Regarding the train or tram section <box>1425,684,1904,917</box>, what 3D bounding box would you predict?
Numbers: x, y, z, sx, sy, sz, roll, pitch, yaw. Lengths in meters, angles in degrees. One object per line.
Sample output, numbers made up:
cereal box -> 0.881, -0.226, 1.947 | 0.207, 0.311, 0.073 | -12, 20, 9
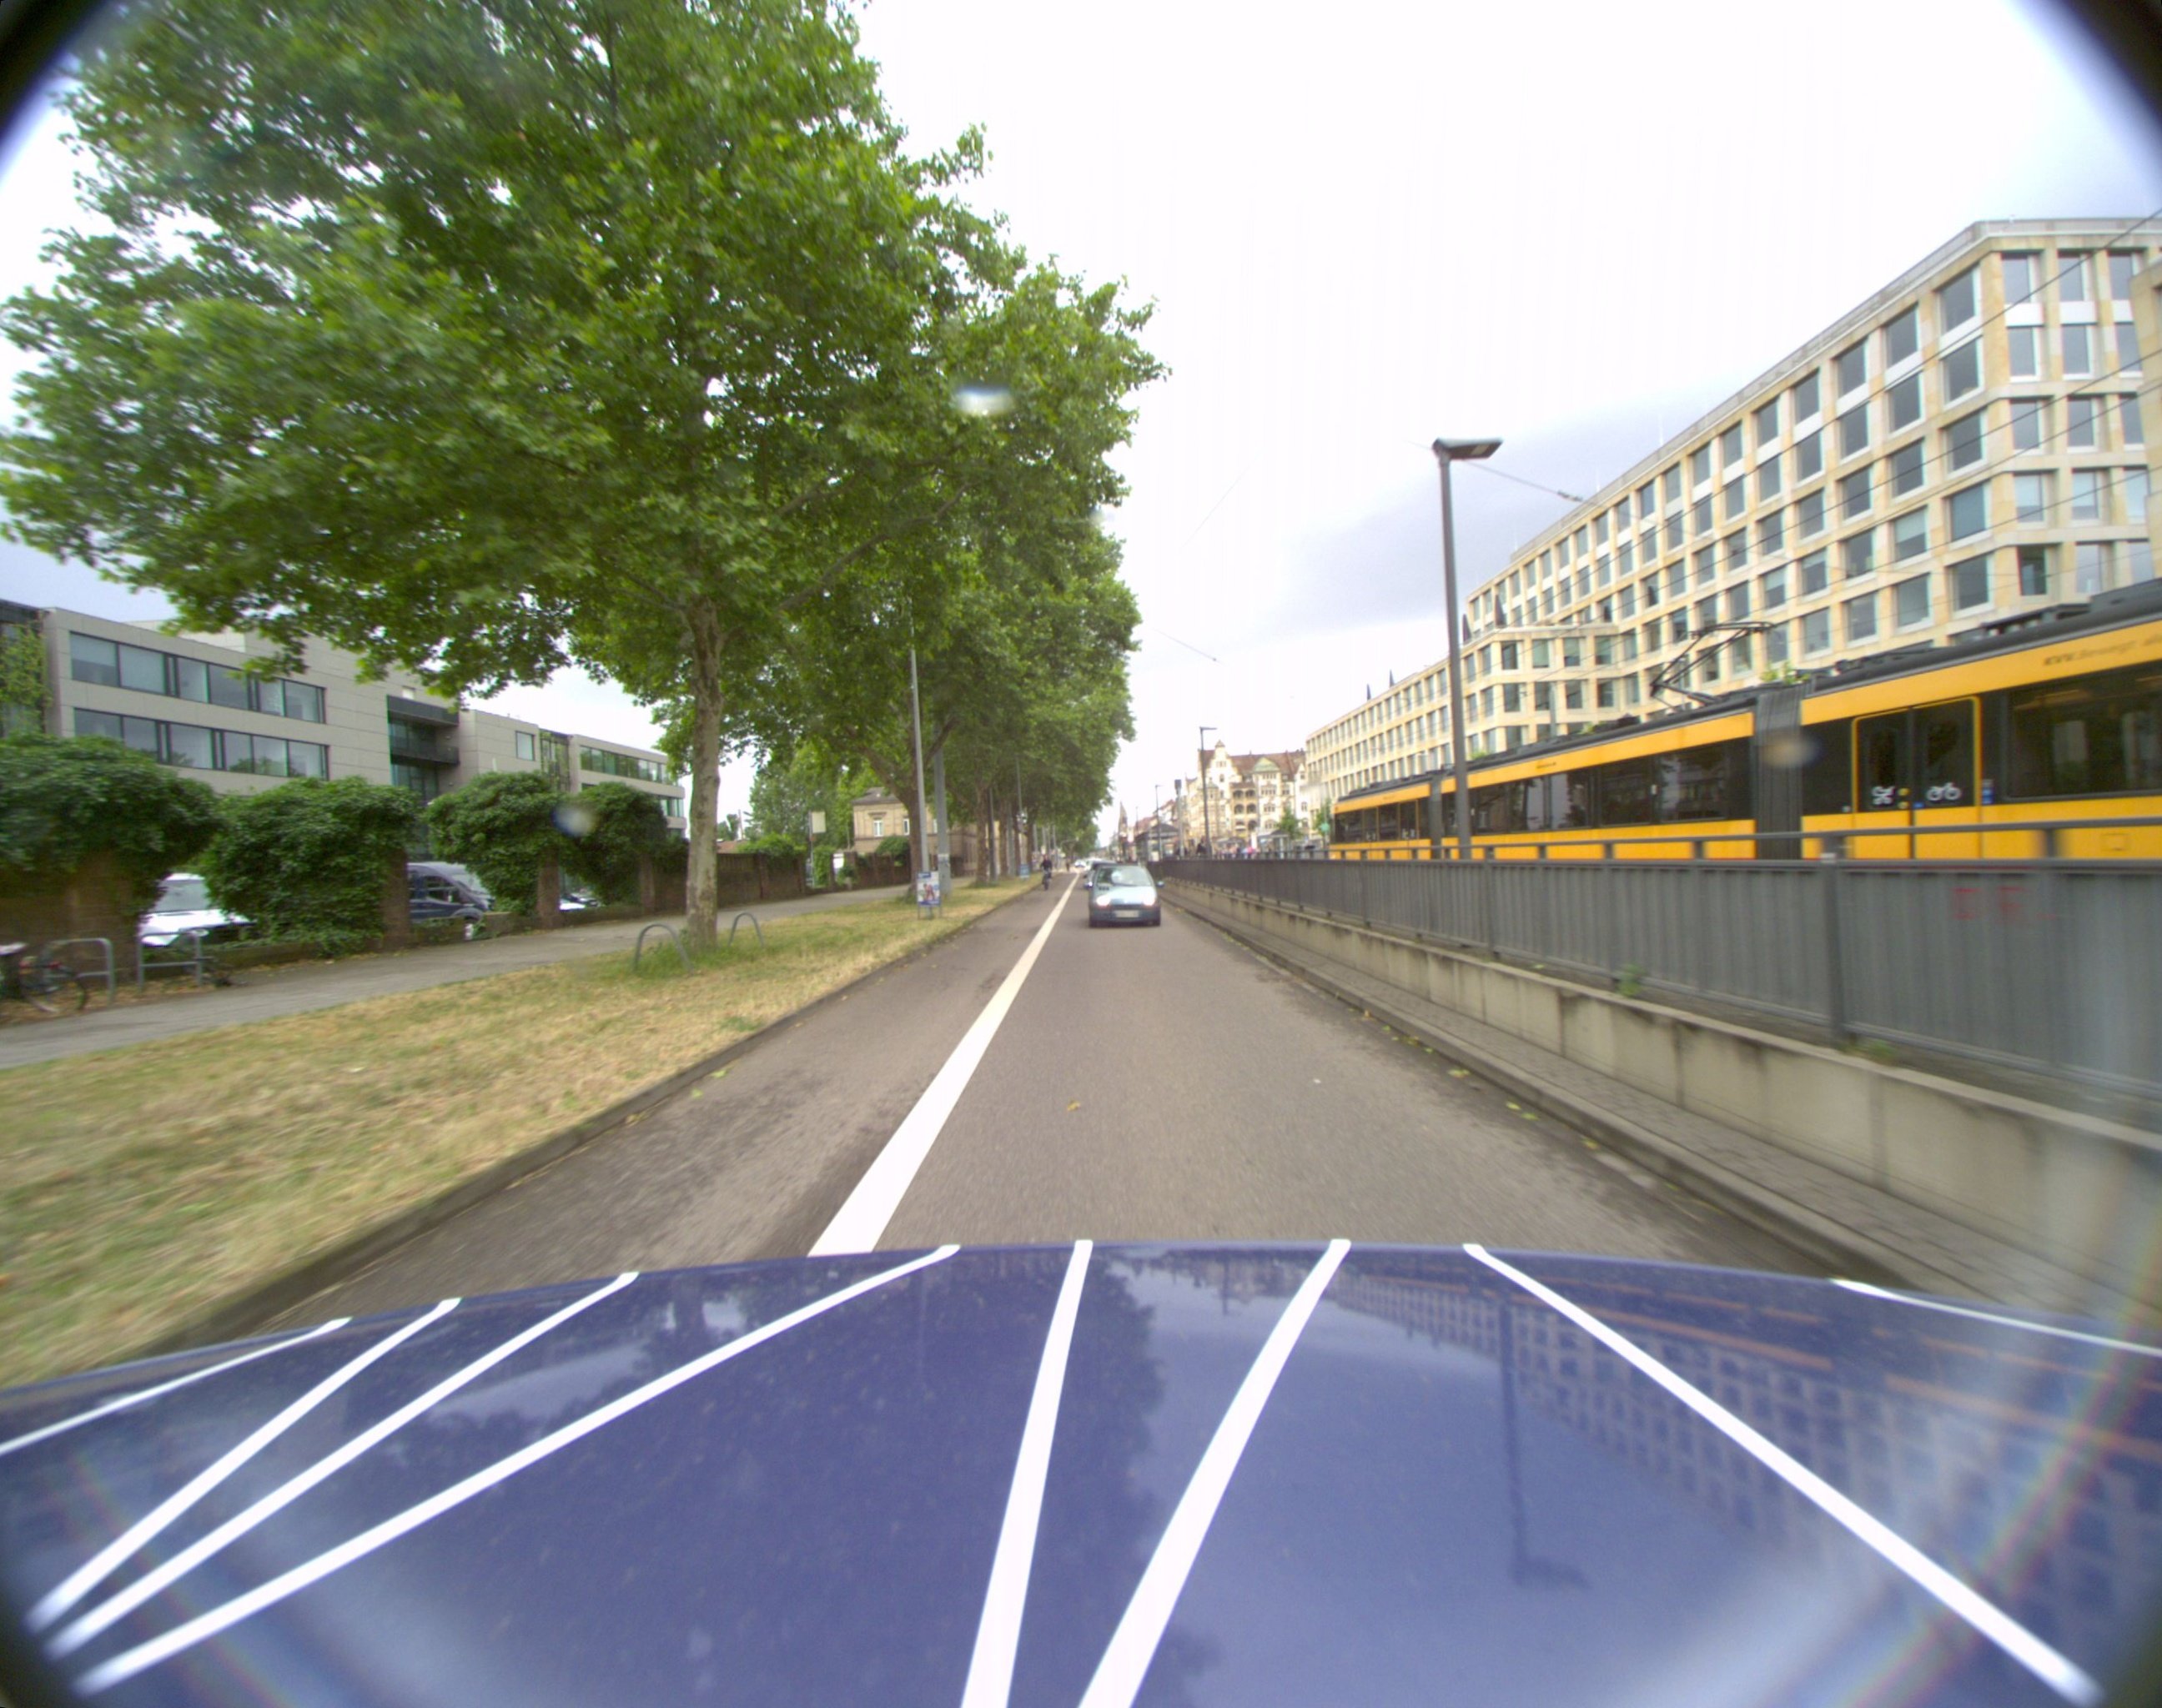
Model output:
train or tram section -> 12.563, -0.973, 18.683 | 3.171, 3.839, 11.310 | -3, 1, 1

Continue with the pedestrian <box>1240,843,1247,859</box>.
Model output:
pedestrian -> 16.405, -0.305, 76.766 | 0.536, 1.598, 0.565 | -3, 1, 8

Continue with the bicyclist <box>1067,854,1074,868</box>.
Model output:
bicyclist -> -1.317, 0.841, 93.391 | 0.812, 1.591, 1.189 | -3, 1, -2

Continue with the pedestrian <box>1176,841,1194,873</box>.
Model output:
pedestrian -> 5.860, 0.166, 42.858 | 0.672, 1.783, 1.112 | -3, 1, -8

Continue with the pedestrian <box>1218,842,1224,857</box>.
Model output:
pedestrian -> 16.699, -0.581, 90.314 | 0.596, 1.759, 0.589 | -3, 1, 8

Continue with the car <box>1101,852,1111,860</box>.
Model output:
car -> 5.759, 0.480, 175.214 | 1.869, 1.630, 3.775 | -3, 1, -1

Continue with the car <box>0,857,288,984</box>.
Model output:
car -> -20.250, 1.370, 15.972 | 5.109, 2.251, 1.665 | -4, 1, -2

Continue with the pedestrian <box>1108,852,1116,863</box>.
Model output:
pedestrian -> 4.911, 0.587, 120.813 | 0.862, 1.633, 0.651 | -4, 1, -41

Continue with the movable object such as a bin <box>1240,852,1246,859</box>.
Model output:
movable object such as a bin -> 16.489, 0.146, 77.289 | 0.536, 0.743, 0.469 | -3, 1, 7

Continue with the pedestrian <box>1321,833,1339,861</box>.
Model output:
pedestrian -> 16.461, -0.465, 50.311 | 0.713, 1.785, 1.160 | -3, 1, 0

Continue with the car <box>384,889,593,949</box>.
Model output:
car -> -19.254, 2.077, 24.869 | 5.109, 1.403, 2.003 | -4, 1, -2

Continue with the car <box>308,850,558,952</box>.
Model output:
car -> -18.759, 1.303, 22.230 | 5.246, 2.407, 2.075 | -5, 1, -2

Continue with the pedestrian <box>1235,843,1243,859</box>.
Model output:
pedestrian -> 17.559, -0.329, 84.386 | 0.589, 1.759, 0.596 | -4, 1, -36

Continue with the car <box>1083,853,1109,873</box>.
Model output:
car -> 1.214, 0.731, 61.857 | 1.998, 1.443, 4.100 | -3, 1, 1

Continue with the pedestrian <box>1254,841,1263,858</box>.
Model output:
pedestrian -> 17.679, -0.441, 75.666 | 0.580, 1.598, 0.655 | -4, 1, -32

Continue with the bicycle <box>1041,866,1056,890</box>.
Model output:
bicycle -> -1.671, 1.207, 39.089 | 0.654, 1.143, 2.282 | -3, 1, -1

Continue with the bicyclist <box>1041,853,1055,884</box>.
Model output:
bicyclist -> -1.700, 0.729, 38.971 | 0.642, 1.522, 0.664 | -3, 1, -1

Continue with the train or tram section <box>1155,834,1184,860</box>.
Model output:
train or tram section -> 13.965, -1.112, 120.808 | 2.862, 3.670, 13.518 | -3, 1, 0

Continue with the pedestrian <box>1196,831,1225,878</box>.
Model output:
pedestrian -> 5.692, 0.018, 33.528 | 1.061, 2.002, 0.840 | -3, 1, 1

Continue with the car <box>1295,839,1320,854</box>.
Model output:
car -> 27.480, -0.918, 92.206 | 1.998, 1.652, 4.000 | -3, 1, 3

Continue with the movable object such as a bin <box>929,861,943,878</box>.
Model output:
movable object such as a bin -> -10.142, 1.085, 53.029 | 0.613, 1.105, 1.015 | -3, 0, 7

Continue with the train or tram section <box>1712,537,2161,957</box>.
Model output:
train or tram section -> 12.300, -1.104, 6.144 | 3.188, 4.155, 13.619 | -3, 1, 1

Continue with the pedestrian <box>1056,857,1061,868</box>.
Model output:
pedestrian -> -3.256, 1.209, 110.372 | 0.552, 1.520, 0.639 | -3, 1, 18

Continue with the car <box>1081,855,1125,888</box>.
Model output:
car -> 1.084, 0.849, 38.359 | 1.998, 1.443, 4.100 | -3, 1, 1

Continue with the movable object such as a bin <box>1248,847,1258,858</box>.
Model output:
movable object such as a bin -> 17.111, -0.162, 75.437 | 0.622, 1.015, 0.721 | -4, 1, -32

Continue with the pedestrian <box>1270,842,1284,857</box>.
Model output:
pedestrian -> 18.334, -0.425, 70.974 | 1.040, 1.364, 0.939 | -3, 1, 4

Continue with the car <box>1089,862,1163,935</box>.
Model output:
car -> 1.033, 0.978, 18.087 | 1.534, 1.464, 3.353 | -2, 1, 2

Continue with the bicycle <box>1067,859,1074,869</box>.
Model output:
bicycle -> -1.284, 1.229, 93.247 | 0.814, 1.163, 2.276 | -3, 1, -1

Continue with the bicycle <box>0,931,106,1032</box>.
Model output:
bicycle -> -12.989, 1.525, 9.075 | 1.895, 1.098, 0.550 | -1, 1, -1

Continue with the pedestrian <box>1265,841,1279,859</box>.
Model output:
pedestrian -> 18.276, -0.350, 72.650 | 1.040, 1.676, 0.939 | -3, 1, 4

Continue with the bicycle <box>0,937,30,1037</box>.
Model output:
bicycle -> -13.127, 1.532, 8.494 | 1.905, 1.091, 0.550 | -1, 1, -1

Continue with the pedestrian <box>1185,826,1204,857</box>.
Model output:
pedestrian -> 6.606, -0.717, 44.159 | 0.672, 1.783, 1.112 | -3, 1, -12

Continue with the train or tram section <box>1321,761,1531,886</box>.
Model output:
train or tram section -> 12.879, -1.035, 30.093 | 3.245, 3.839, 11.310 | -3, 1, 1
